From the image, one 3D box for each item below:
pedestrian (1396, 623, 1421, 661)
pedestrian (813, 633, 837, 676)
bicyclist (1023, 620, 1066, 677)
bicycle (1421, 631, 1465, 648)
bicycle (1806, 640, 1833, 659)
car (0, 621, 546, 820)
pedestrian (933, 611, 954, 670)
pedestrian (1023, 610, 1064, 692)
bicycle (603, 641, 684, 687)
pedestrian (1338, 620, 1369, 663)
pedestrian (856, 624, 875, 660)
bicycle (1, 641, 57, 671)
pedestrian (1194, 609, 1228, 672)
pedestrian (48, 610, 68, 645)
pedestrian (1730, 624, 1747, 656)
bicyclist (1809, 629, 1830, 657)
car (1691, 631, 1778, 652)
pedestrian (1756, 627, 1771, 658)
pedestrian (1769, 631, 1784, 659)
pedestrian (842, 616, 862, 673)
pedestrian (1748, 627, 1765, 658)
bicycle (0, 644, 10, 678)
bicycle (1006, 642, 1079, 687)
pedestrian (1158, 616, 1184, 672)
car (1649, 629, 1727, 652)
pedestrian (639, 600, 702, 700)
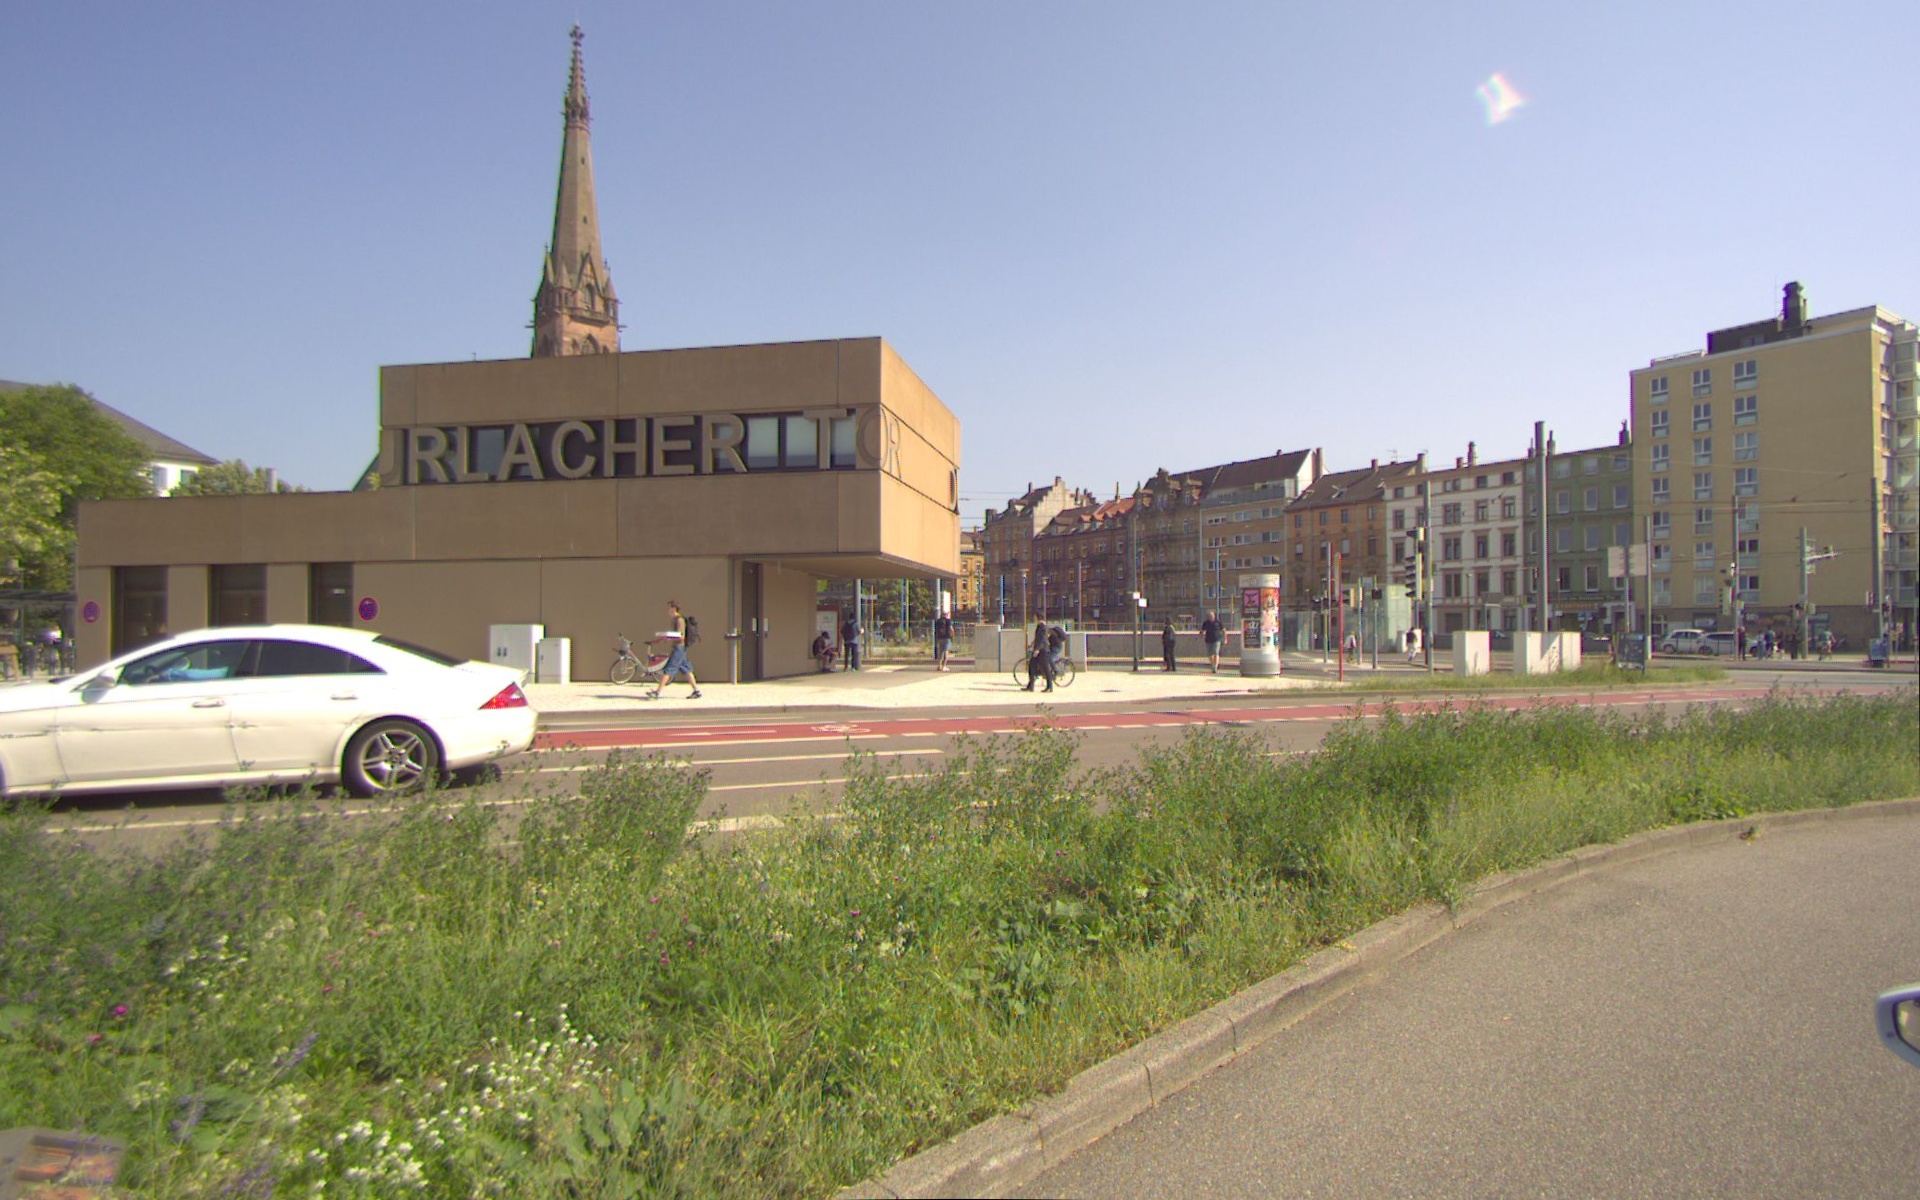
[{"bbox_3d":[22.383,2.105,50.083,0.770,1.843,0.828,3,-2,-32],"label":"pedestrian"},{"bbox_3d":[-3.838,1.536,28.538,0.513,1.187,0.596,0,-1,10],"label":"pedestrian"},{"bbox_3d":[2.137,1.233,25.456,0.872,1.380,0.560,3,-1,-29],"label":"bicyclist"},{"bbox_3d":[41.714,3.406,86.782,0.766,1.366,3.509,-2,0,-33],"label":"bicycle"},{"bbox_3d":[45.847,2.617,53.554,1.716,0.997,0.722,1,-2,-37],"label":"bicycle"},{"bbox_3d":[-6.152,0.914,8.534,4.756,1.379,1.835,2,-1,-27],"label":"car"},{"bbox_3d":[-0.517,1.264,31.667,0.547,1.843,0.392,-2,0,-7],"label":"pedestrian"},{"bbox_3d":[1.917,1.153,23.070,0.831,1.802,0.877,-2,0,2],"label":"pedestrian"},{"bbox_3d":[-6.987,1.396,22.204,1.580,0.968,0.661,-1,0,11],"label":"bicycle"},{"bbox_3d":[19.178,2.000,48.913,1.010,2.040,0.953,-2,0,-32],"label":"pedestrian"},{"bbox_3d":[-4.295,1.899,45.729,0.782,1.612,0.692,0,-1,-2],"label":"pedestrian"},{"bbox_3d":[-32.443,1.958,35.011,1.837,1.022,0.462,-1,-2,13],"label":"bicycle"},{"bbox_3d":[7.550,1.219,30.211,0.864,1.843,0.896,-2,0,19],"label":"pedestrian"},{"bbox_3d":[-46.248,1.400,51.502,0.384,1.771,0.712,-2,-2,44],"label":"pedestrian"},{"bbox_3d":[43.096,2.197,55.574,0.537,1.707,0.455,-2,0,-8],"label":"pedestrian"},{"bbox_3d":[45.830,2.272,53.547,0.683,1.453,0.721,1,-2,-36],"label":"bicyclist"},{"bbox_3d":[45.630,2.437,59.248,1.560,1.195,3.805,3,-3,-34],"label":"car"},{"bbox_3d":[44.609,2.343,55.768,0.447,1.707,0.440,-2,0,19],"label":"pedestrian"},{"bbox_3d":[45.153,2.471,55.572,0.489,1.507,0.440,-2,0,19],"label":"pedestrian"},{"bbox_3d":[-3.345,1.380,31.255,0.523,1.718,0.607,-2,0,-2],"label":"pedestrian"},{"bbox_3d":[43.738,2.330,55.157,0.539,1.707,0.454,-2,0,-20],"label":"pedestrian"},{"bbox_3d":[-29.625,1.844,30.375,1.710,1.022,0.401,-1,-2,13],"label":"bicycle"},{"bbox_3d":[2.101,1.634,25.441,1.828,1.078,0.559,2,-1,-29],"label":"bicycle"},{"bbox_3d":[6.193,1.291,29.472,0.500,1.601,0.497,-2,0,-17],"label":"pedestrian"},{"bbox_3d":[46.299,2.569,63.928,1.569,1.411,3.718,1,-2,-31],"label":"car"},{"bbox_3d":[-5.283,0.894,18.346,0.668,1.783,0.875,0,-1,37],"label":"pedestrian"}]
